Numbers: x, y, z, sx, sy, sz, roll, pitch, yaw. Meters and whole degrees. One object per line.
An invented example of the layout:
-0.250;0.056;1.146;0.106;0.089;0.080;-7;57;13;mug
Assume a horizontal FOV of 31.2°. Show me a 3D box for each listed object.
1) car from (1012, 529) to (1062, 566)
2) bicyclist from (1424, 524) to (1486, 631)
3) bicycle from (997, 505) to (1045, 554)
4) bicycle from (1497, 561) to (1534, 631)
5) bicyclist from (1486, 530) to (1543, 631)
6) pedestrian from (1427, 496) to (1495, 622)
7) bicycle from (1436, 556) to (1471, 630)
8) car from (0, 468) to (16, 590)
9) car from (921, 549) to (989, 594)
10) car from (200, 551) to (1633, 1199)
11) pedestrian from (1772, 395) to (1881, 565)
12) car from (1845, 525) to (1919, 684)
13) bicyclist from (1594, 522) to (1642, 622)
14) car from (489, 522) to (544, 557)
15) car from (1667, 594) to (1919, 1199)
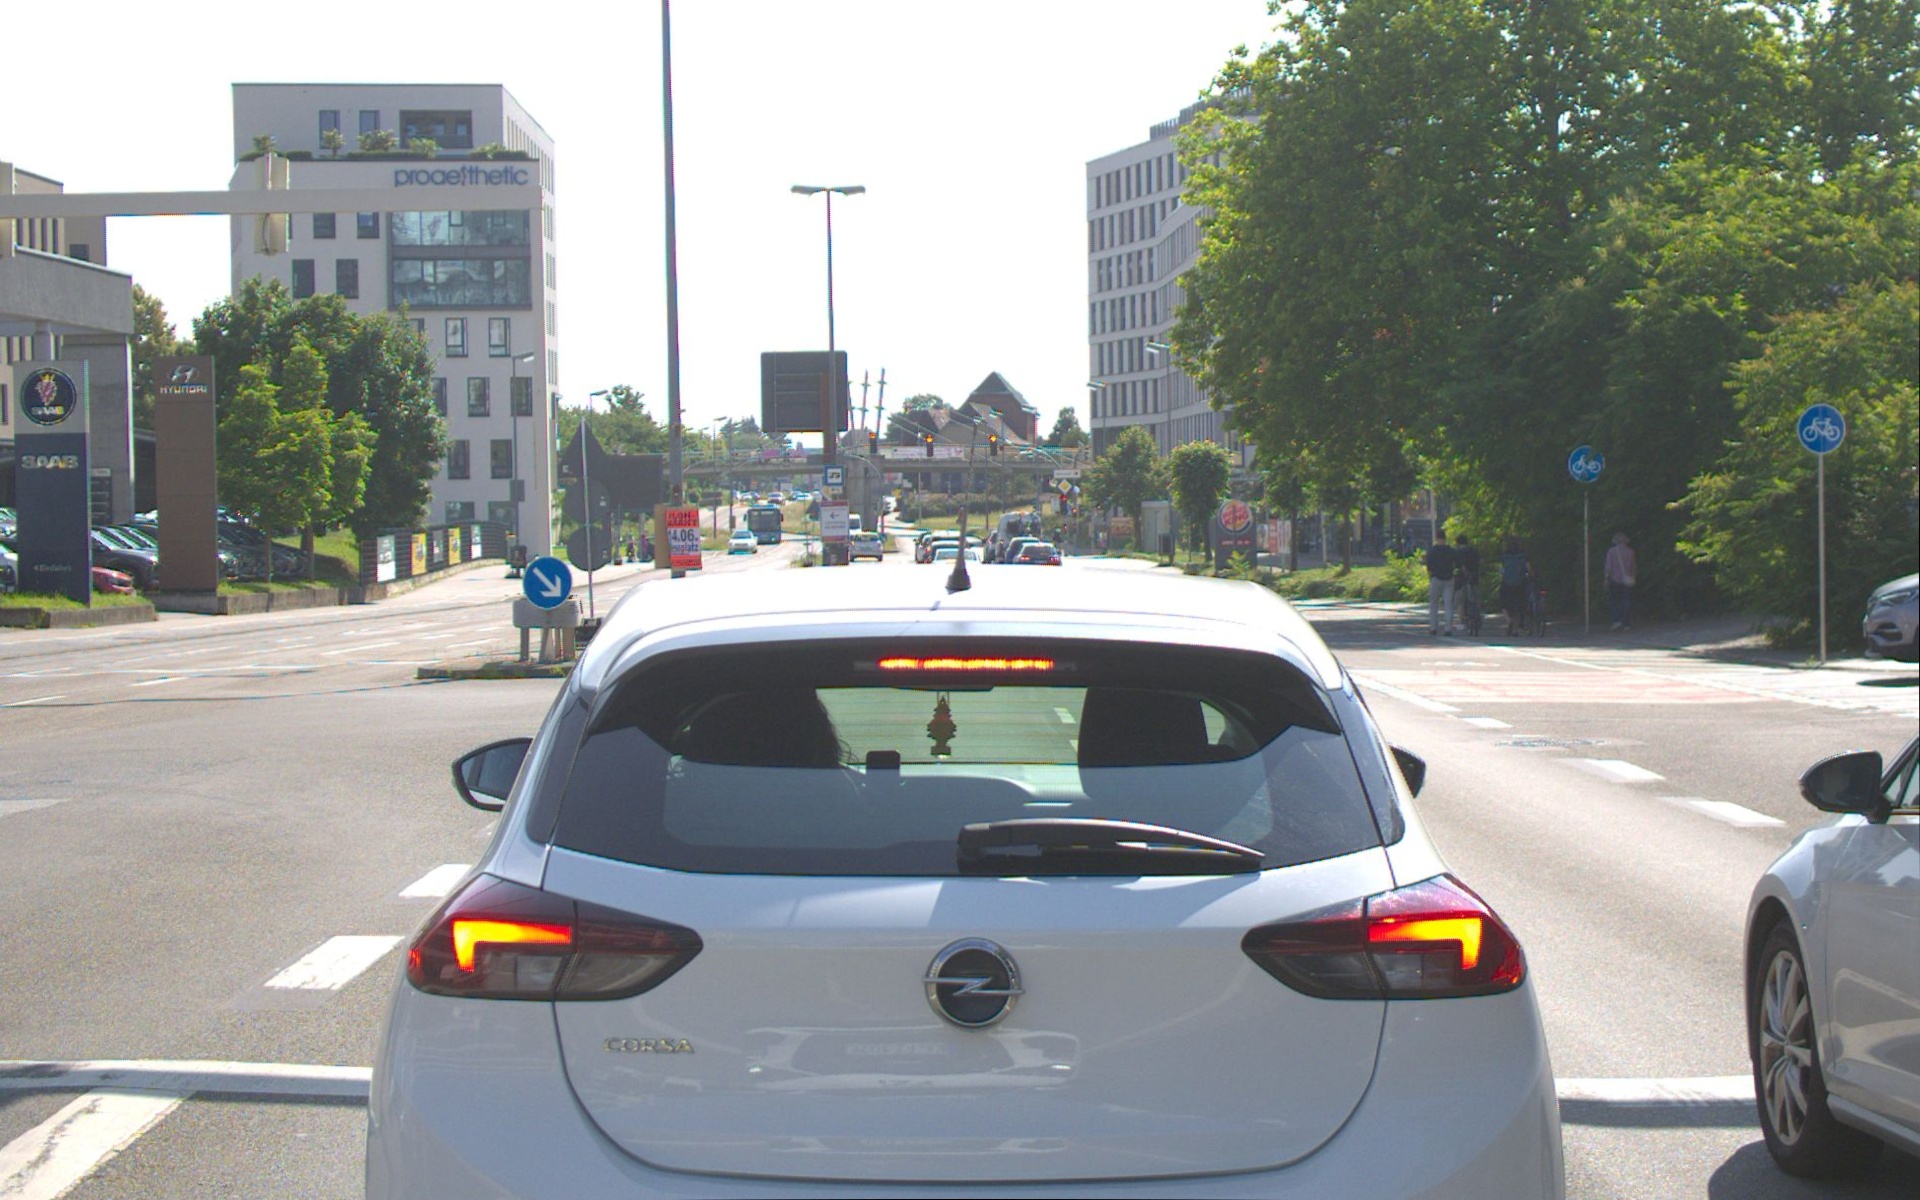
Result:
3.021;-2.064;135.249;1.806;1.381;4.000;1;0;-1;car
8.244;-0.381;57.283;0.879;1.766;0.864;-1;1;0;bicyclist
2.732;-3.168;155.220;1.993;2.150;4.000;-1;1;-1;bicycle
9.098;-0.067;56.339;0.373;1.143;1.034;1;0;-3;bicycle
9.085;-0.321;56.340;0.688;1.637;0.777;-1;1;-9;bicyclist
8.951;-0.739;61.504;1.027;2.231;1.039;-1;1;-1;pedestrian
8.223;-0.119;57.301;0.372;1.212;1.154;1;1;-1;bicycle
-22.556;-1.476;73.036;4.357;2.592;2.000;-1;1;5;car
-0.174;-0.863;105.879;1.993;1.327;4.000;1;0;-1;car
-0.076;0.673;6.296;1.779;1.489;4.000;-1;1;-1;car
10.460;-1.441;41.538;1.027;2.007;1.039;-1;1;-1;pedestrian
11.372;-0.087;35.027;4.421;1.546;1.999;-4;0;13;car
10.928;-0.466;57.113;0.652;1.631;0.659;1;0;0;bicyclist
-18.322;-2.494;142.116;1.806;1.381;4.000;1;0;-1;car
2.834;0.711;6.837;1.807;1.424;4.001;-1;1;-3;car
